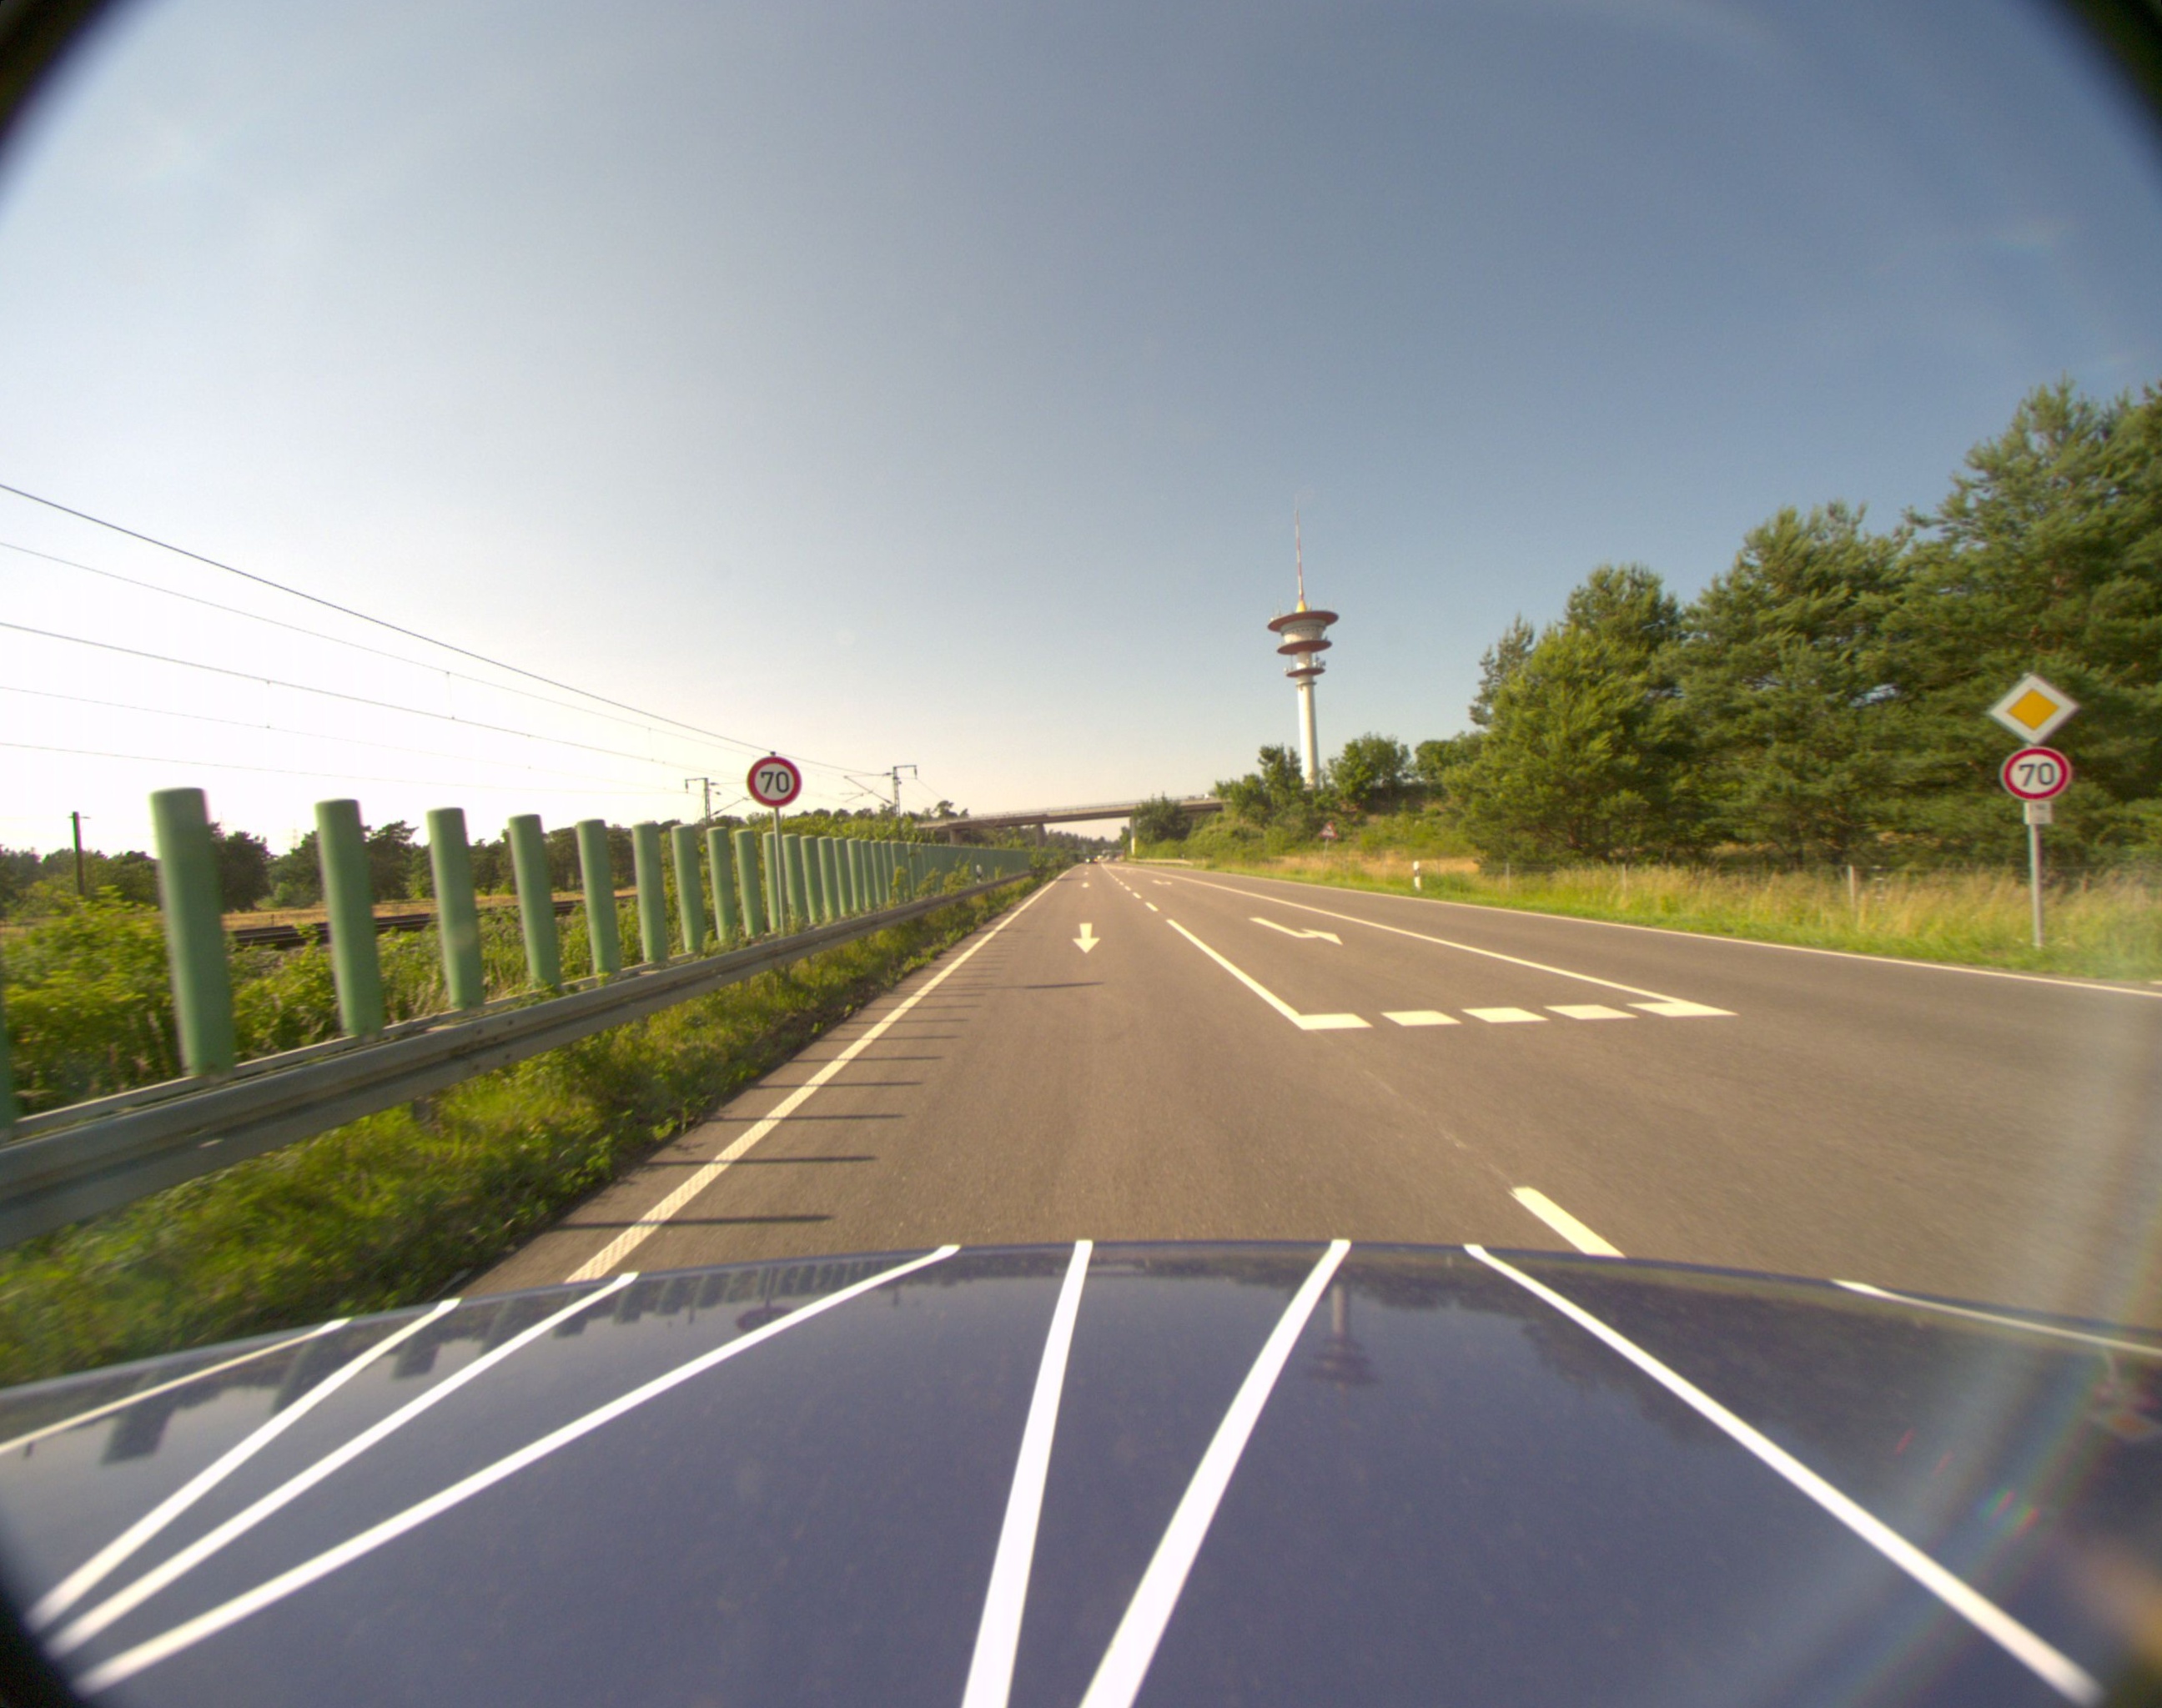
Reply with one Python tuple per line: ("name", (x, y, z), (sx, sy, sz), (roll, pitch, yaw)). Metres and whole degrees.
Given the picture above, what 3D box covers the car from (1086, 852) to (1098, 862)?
("car", (1.862, 0.541, 126.853), (1.998, 1.533, 4.332), (-1, 0, 2))
